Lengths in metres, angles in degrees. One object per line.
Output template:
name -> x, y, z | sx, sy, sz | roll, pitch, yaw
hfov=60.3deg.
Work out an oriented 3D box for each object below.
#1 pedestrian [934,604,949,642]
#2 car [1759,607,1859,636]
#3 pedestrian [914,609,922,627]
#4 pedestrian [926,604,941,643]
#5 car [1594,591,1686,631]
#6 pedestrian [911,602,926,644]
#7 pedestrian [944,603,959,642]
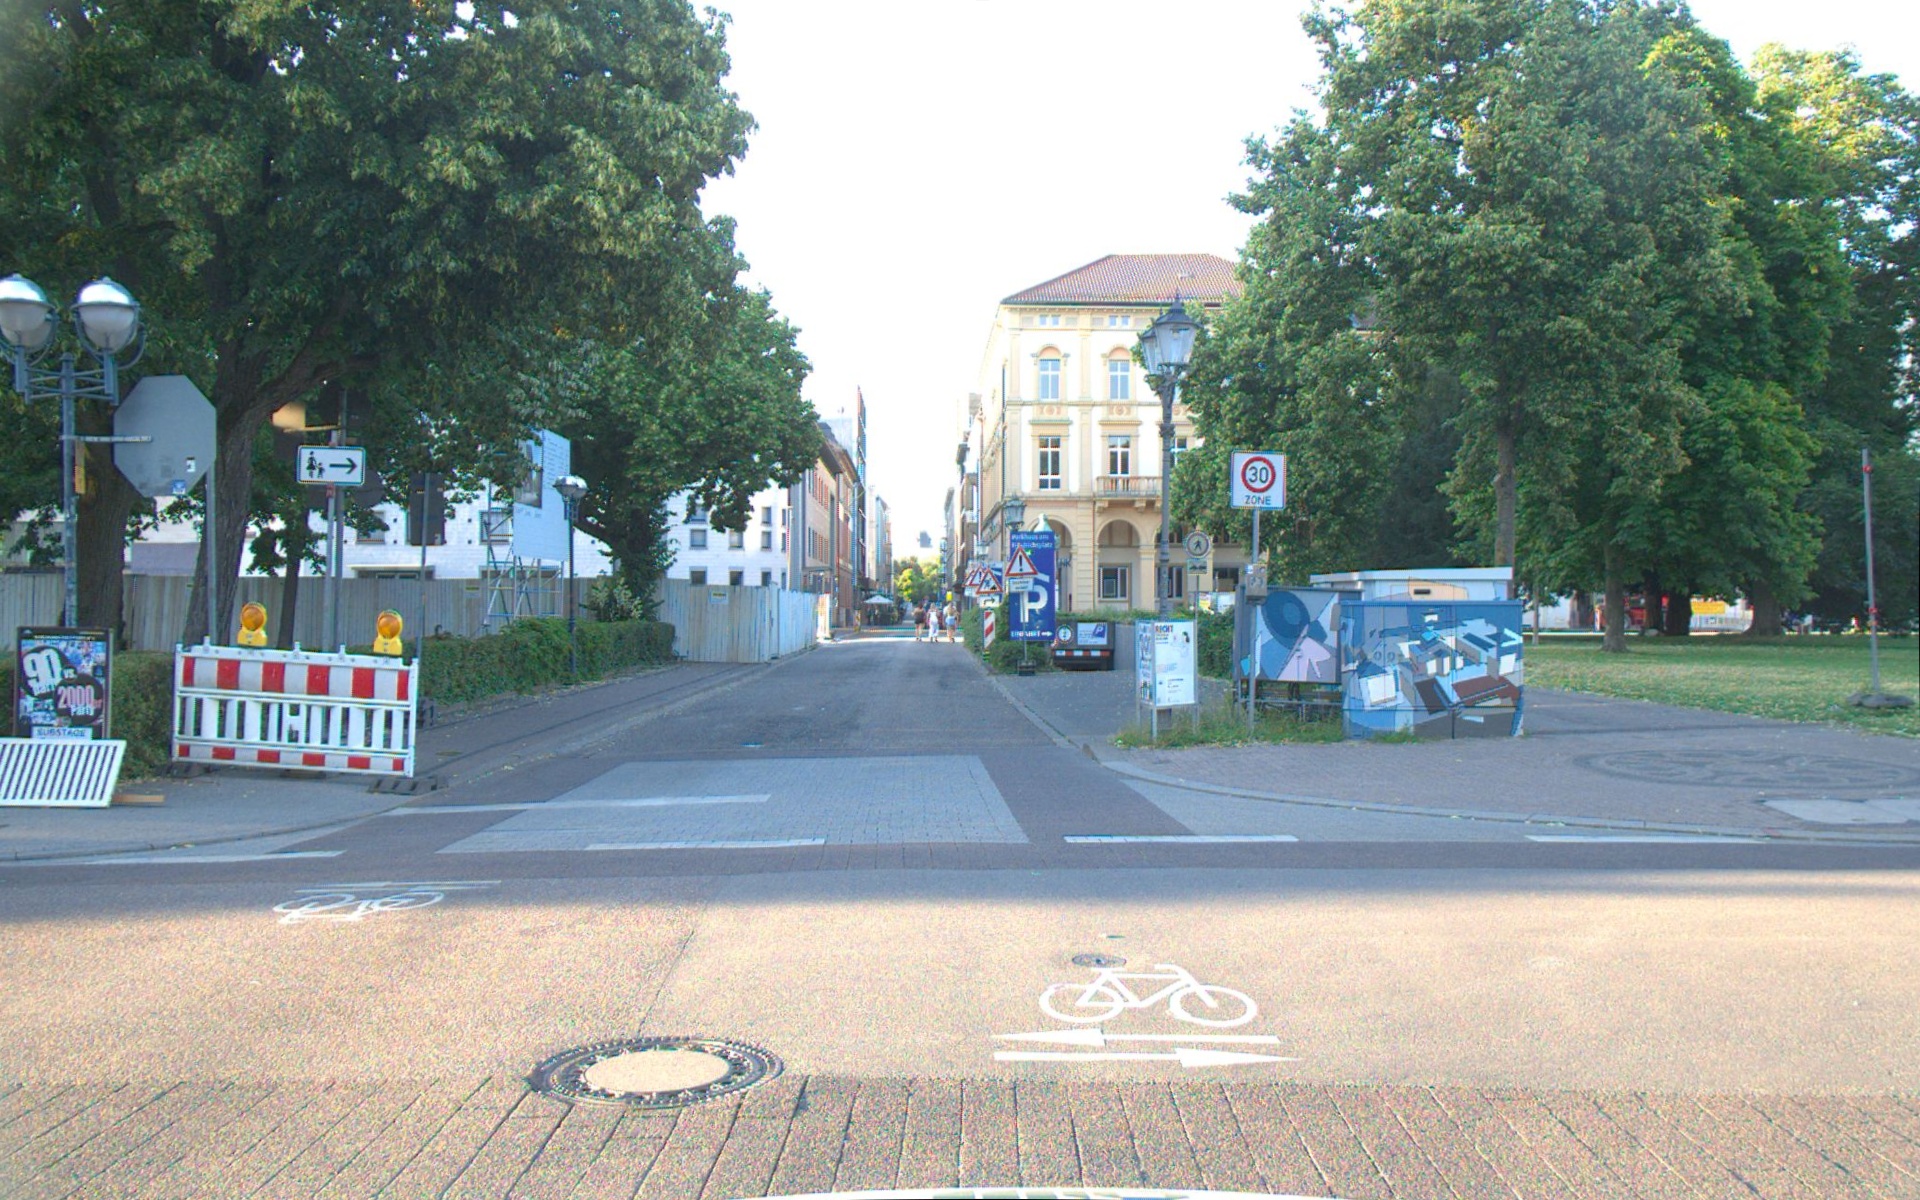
pedestrian -> -0.811, 1.011, 72.477 | 0.644, 1.664, 0.745 | -1, 0, -1
car -> 38.311, 0.963, 74.674 | 3.506, 1.262, 1.996 | 0, 0, -8
pedestrian -> -4.265, 1.849, 168.388 | 0.730, 1.866, 0.759 | -1, -1, -13
pedestrian -> -1.136, 0.996, 71.102 | 0.644, 1.645, 0.745 | -1, 0, -1
car -> 35.418, 0.563, 86.231 | 3.949, 2.049, 2.000 | -1, 0, 0
pedestrian -> -1.808, 1.009, 72.298 | 0.644, 1.790, 0.745 | -1, 0, -1
pedestrian -> -0.369, 0.957, 71.186 | 0.644, 1.645, 0.745 | -1, 0, -1
